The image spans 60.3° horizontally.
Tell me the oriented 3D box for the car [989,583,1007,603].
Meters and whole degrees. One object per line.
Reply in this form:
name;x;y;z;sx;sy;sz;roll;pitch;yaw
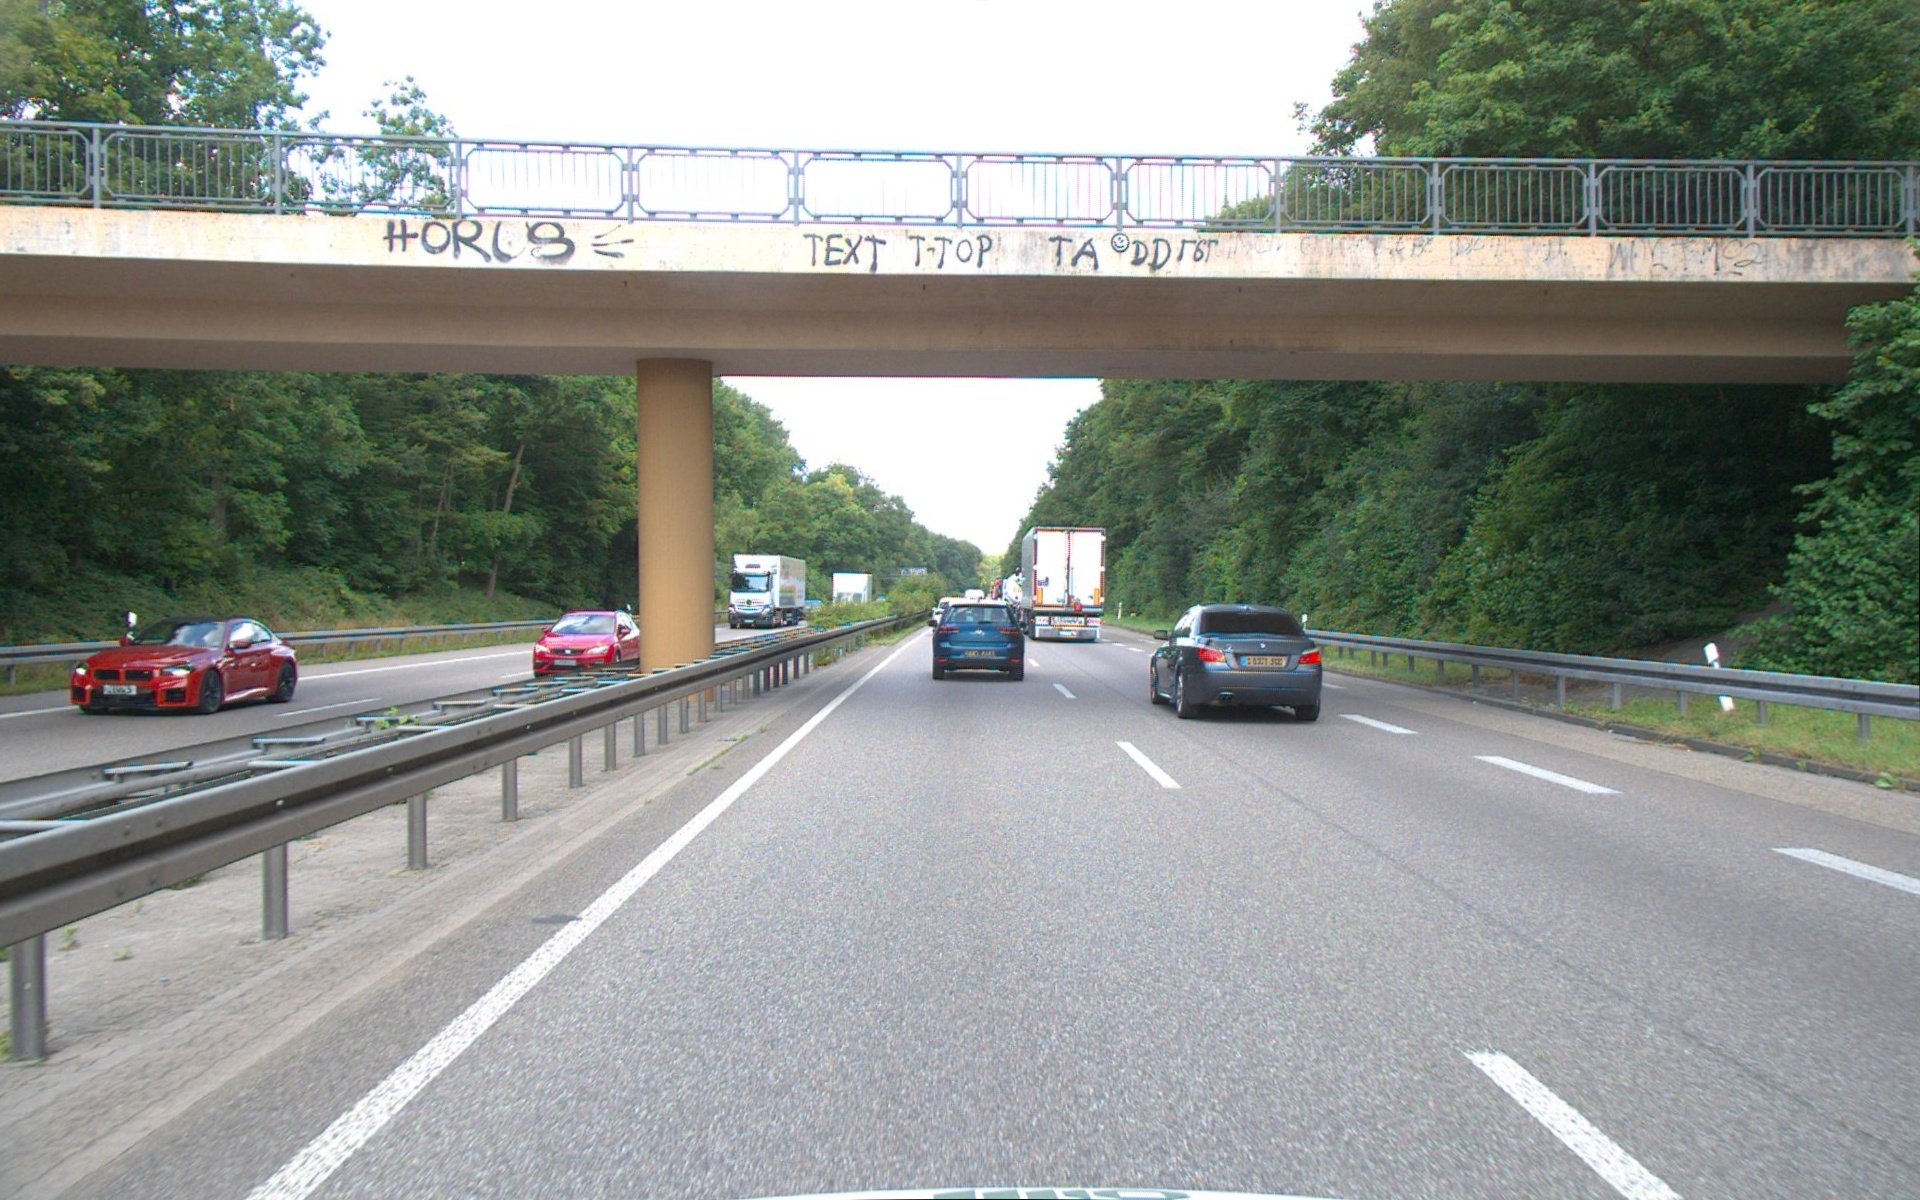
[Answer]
car;4.617;-0.897;199.697;1.953;2.368;4.440;-1;0;-2

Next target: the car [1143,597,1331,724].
car;3.623;0.728;22.450;1.738;1.501;4.880;1;0;0

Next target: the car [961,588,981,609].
car;1.140;-0.170;177.419;1.953;2.295;4.440;-1;0;-2

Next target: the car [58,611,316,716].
car;-11.870;0.912;25.794;1.826;1.402;4.804;-1;0;-1

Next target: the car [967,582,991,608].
car;1.507;-0.426;133.513;1.914;2.049;4.000;-1;0;0

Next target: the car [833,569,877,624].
car;-6.538;-0.217;103.472;2.241;3.289;7.286;-1;0;0

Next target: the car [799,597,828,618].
car;-10.902;0.569;123.205;1.699;1.499;4.470;-1;0;1

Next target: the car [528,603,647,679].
car;-8.009;0.845;35.920;1.651;1.502;4.436;-1;0;-1

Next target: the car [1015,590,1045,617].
car;4.553;0.215;108.699;1.849;1.759;4.000;-1;0;1

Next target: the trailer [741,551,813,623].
trailer;-11.017;-0.763;100.712;2.996;4.113;9.976;-1;0;2

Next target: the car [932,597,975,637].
car;-0.231;0.636;65.498;1.631;1.526;4.152;1;0;1

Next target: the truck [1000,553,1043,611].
truck;4.994;-1.355;136.012;3.166;4.463;12.970;1;-1;1

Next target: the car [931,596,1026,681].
car;0.341;0.697;31.696;1.670;1.495;4.000;1;0;0

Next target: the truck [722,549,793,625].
truck;-11.220;-0.710;92.290;2.977;4.056;6.749;-1;0;1

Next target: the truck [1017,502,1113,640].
truck;3.848;-1.034;63.165;3.175;4.798;11.009;0;0;1
